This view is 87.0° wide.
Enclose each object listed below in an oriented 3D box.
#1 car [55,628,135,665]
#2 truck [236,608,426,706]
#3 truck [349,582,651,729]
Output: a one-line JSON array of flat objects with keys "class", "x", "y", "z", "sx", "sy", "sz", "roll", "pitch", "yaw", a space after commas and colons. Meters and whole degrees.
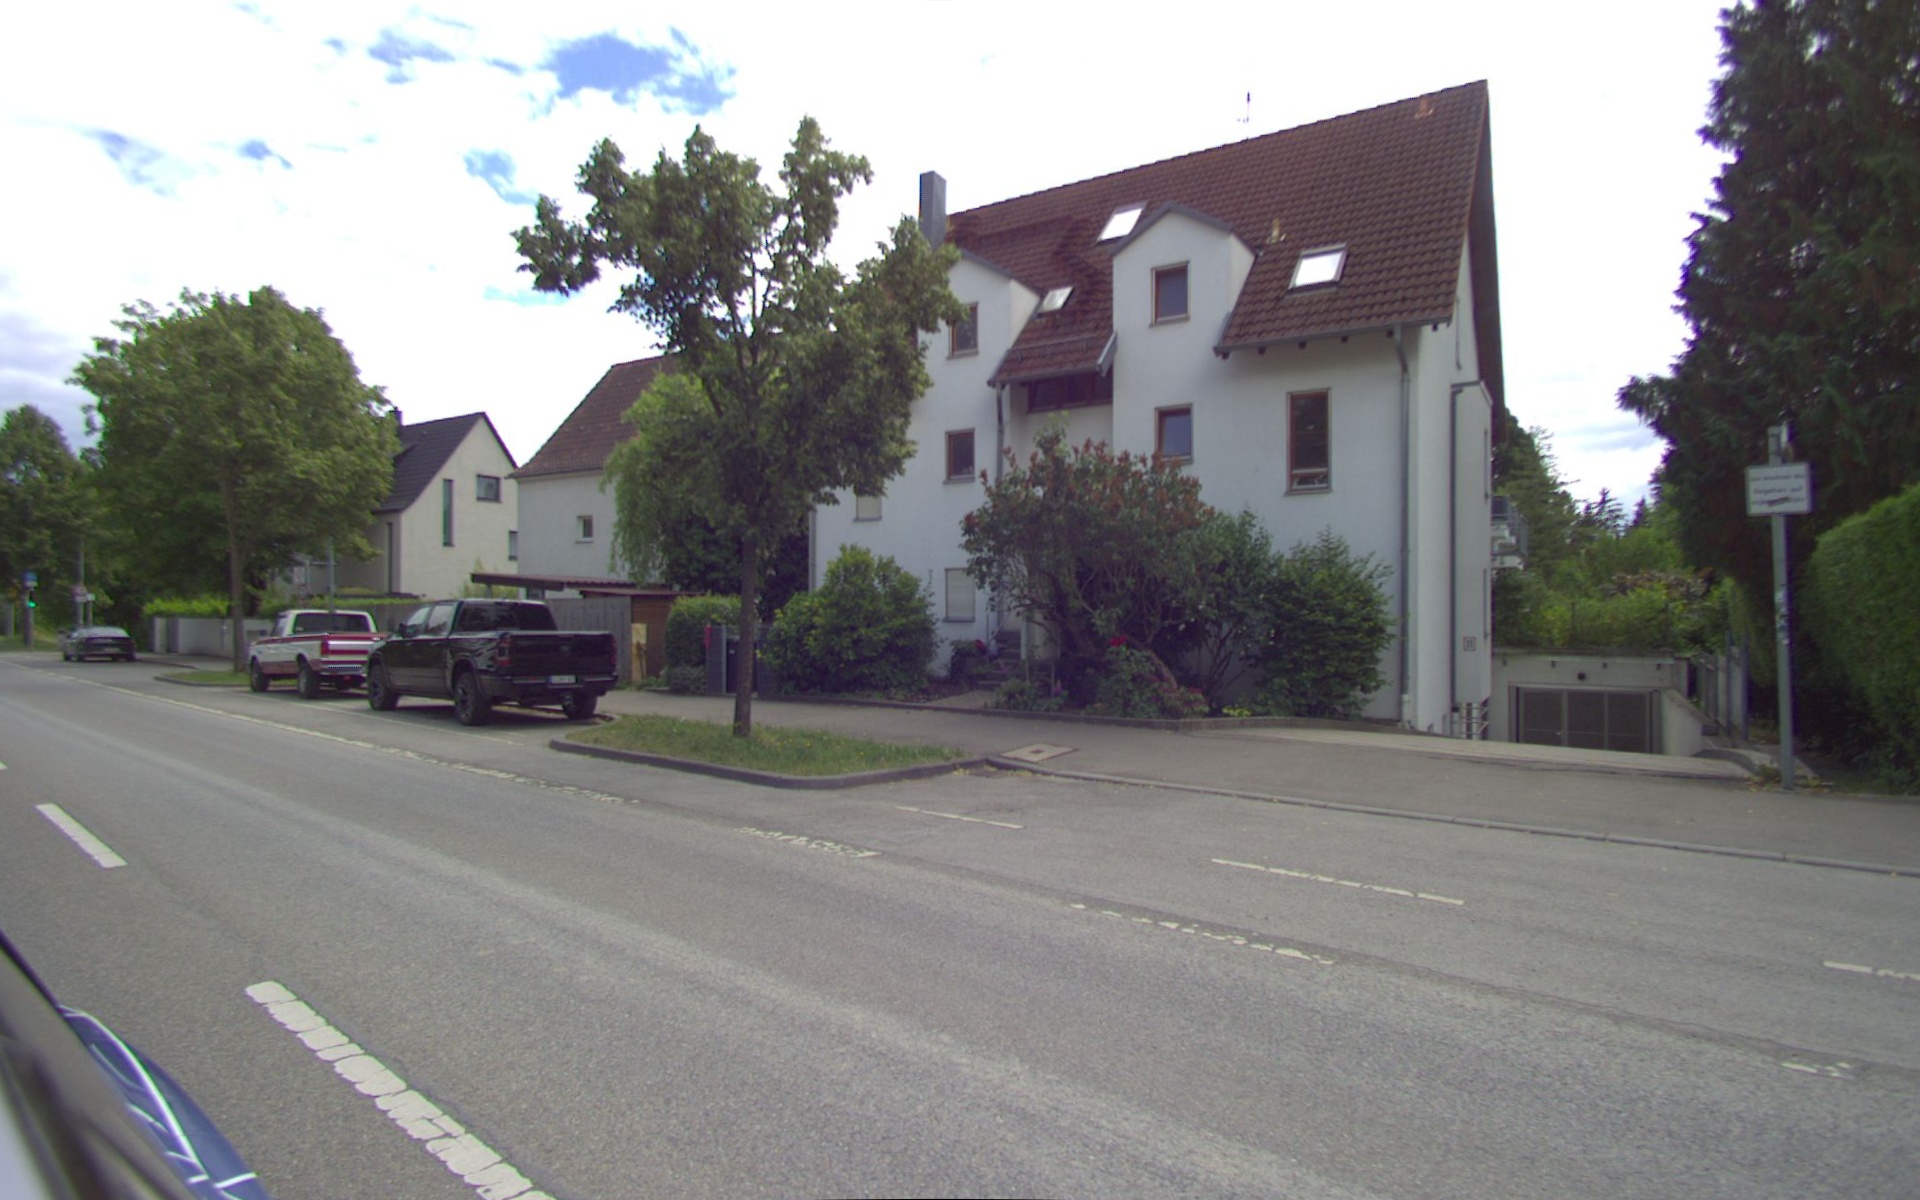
[{"class": "car", "x": -35.229, "y": 1.873, "z": 41.186, "sx": 4.924, "sy": 1.419, "sz": 1.727, "roll": -1, "pitch": -3, "yaw": 41}, {"class": "truck", "x": -13.829, "y": 1.188, "z": 22.071, "sx": 5.662, "sy": 1.882, "sz": 1.946, "roll": -1, "pitch": -3, "yaw": 42}, {"class": "truck", "x": -7.948, "y": 0.856, "z": 17.155, "sx": 5.991, "sy": 2.059, "sz": 2.398, "roll": -1, "pitch": -2, "yaw": 41}]
